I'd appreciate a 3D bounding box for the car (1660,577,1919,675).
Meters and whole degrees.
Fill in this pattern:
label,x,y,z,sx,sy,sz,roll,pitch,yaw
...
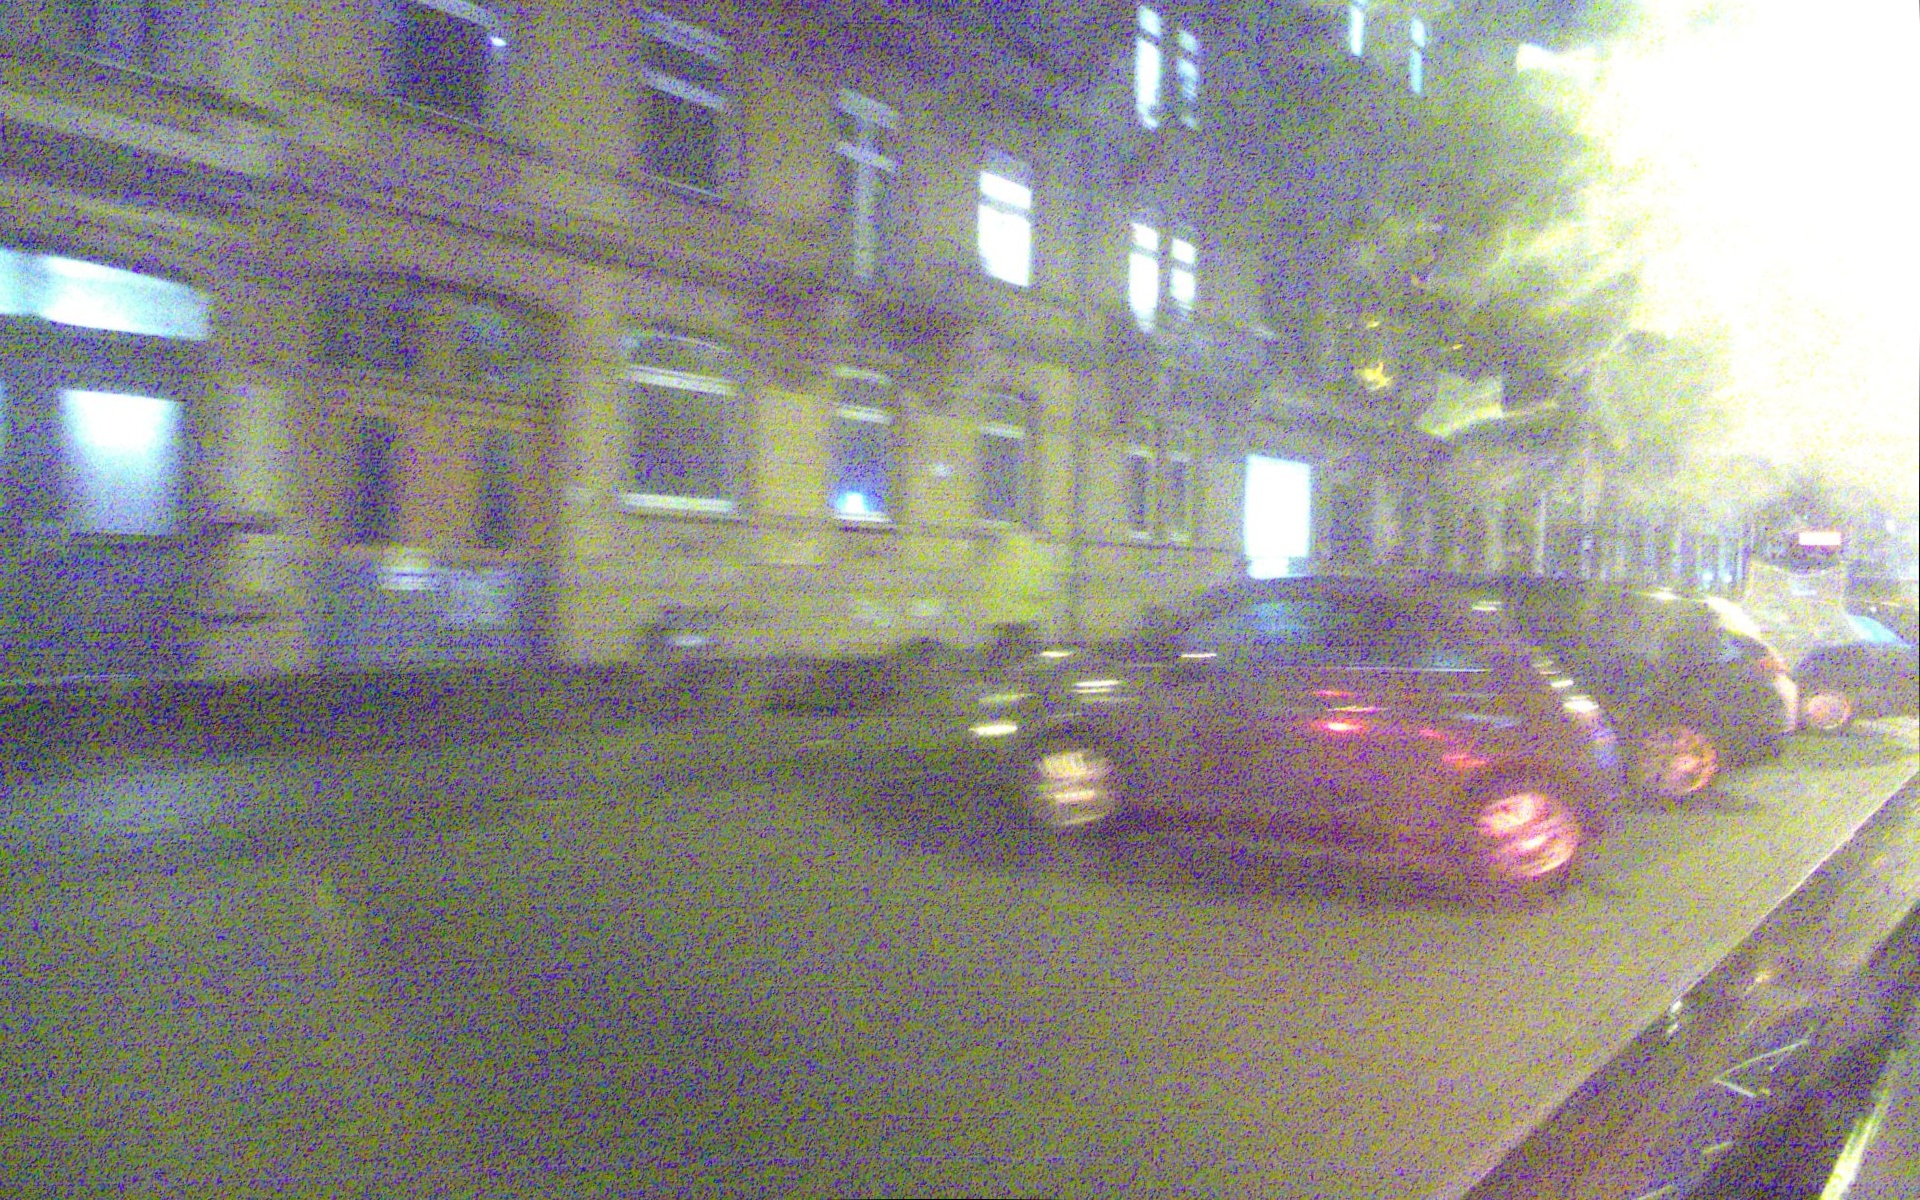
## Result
label,x,y,z,sx,sy,sz,roll,pitch,yaw
car,15.720,0.436,18.778,3.939,1.571,1.993,2,2,12

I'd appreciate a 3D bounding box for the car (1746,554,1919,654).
label,x,y,z,sx,sy,sz,roll,pitch,yaw
car,22.257,0.078,24.463,4.656,2.275,1.939,2,2,14

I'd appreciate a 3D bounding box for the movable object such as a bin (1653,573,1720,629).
label,x,y,z,sx,sy,sz,roll,pitch,yaw
movable object such as a bin,20.735,0.006,28.892,0.981,1.468,1.212,0,6,-40

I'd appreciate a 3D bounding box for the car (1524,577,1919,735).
label,x,y,z,sx,sy,sz,roll,pitch,yaw
car,8.701,0.557,11.501,3.631,1.478,1.597,2,2,15

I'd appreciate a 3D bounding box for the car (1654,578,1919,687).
label,x,y,z,sx,sy,sz,roll,pitch,yaw
car,14.092,0.488,16.646,3.943,1.571,1.797,2,2,15

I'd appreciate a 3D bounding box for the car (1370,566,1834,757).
label,x,y,z,sx,sy,sz,roll,pitch,yaw
car,6.043,0.490,10.042,3.610,1.600,1.581,1,1,22

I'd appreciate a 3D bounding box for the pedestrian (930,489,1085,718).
label,x,y,z,sx,sy,sz,roll,pitch,yaw
pedestrian,0.416,0.001,8.925,0.976,1.878,0.870,0,3,-43

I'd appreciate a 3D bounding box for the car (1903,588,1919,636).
label,x,y,z,sx,sy,sz,roll,pitch,yaw
car,37.544,0.471,36.976,4.059,1.787,1.845,1,0,23

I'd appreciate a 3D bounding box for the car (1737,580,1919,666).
label,x,y,z,sx,sy,sz,roll,pitch,yaw
car,18.222,0.441,20.461,3.608,1.561,1.550,2,2,20

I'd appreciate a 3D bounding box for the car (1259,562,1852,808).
label,x,y,z,sx,sy,sz,roll,pitch,yaw
car,4.299,0.538,7.872,3.595,1.600,1.588,1,1,11

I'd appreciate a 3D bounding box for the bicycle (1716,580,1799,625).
label,x,y,z,sx,sy,sz,roll,pitch,yaw
bicycle,26.848,0.071,34.103,0.767,1.351,1.980,1,4,-34

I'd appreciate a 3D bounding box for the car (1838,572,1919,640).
label,x,y,z,sx,sy,sz,roll,pitch,yaw
car,29.116,0.230,30.033,4.186,1.881,1.710,3,3,15

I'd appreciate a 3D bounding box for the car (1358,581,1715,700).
label,x,y,z,sx,sy,sz,roll,pitch,yaw
car,7.668,0.485,13.885,3.944,1.470,1.679,0,0,17

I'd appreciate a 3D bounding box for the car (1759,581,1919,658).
label,x,y,z,sx,sy,sz,roll,pitch,yaw
car,20.196,0.414,22.519,3.350,1.561,1.572,2,2,14

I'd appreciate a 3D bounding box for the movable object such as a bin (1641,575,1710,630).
label,x,y,z,sx,sy,sz,roll,pitch,yaw
movable object such as a bin,19.887,0.054,28.132,0.981,1.388,1.259,0,6,-40

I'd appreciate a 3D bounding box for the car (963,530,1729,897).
label,x,y,z,sx,sy,sz,roll,pitch,yaw
car,1.976,0.462,5.944,3.602,1.599,1.586,3,3,15
